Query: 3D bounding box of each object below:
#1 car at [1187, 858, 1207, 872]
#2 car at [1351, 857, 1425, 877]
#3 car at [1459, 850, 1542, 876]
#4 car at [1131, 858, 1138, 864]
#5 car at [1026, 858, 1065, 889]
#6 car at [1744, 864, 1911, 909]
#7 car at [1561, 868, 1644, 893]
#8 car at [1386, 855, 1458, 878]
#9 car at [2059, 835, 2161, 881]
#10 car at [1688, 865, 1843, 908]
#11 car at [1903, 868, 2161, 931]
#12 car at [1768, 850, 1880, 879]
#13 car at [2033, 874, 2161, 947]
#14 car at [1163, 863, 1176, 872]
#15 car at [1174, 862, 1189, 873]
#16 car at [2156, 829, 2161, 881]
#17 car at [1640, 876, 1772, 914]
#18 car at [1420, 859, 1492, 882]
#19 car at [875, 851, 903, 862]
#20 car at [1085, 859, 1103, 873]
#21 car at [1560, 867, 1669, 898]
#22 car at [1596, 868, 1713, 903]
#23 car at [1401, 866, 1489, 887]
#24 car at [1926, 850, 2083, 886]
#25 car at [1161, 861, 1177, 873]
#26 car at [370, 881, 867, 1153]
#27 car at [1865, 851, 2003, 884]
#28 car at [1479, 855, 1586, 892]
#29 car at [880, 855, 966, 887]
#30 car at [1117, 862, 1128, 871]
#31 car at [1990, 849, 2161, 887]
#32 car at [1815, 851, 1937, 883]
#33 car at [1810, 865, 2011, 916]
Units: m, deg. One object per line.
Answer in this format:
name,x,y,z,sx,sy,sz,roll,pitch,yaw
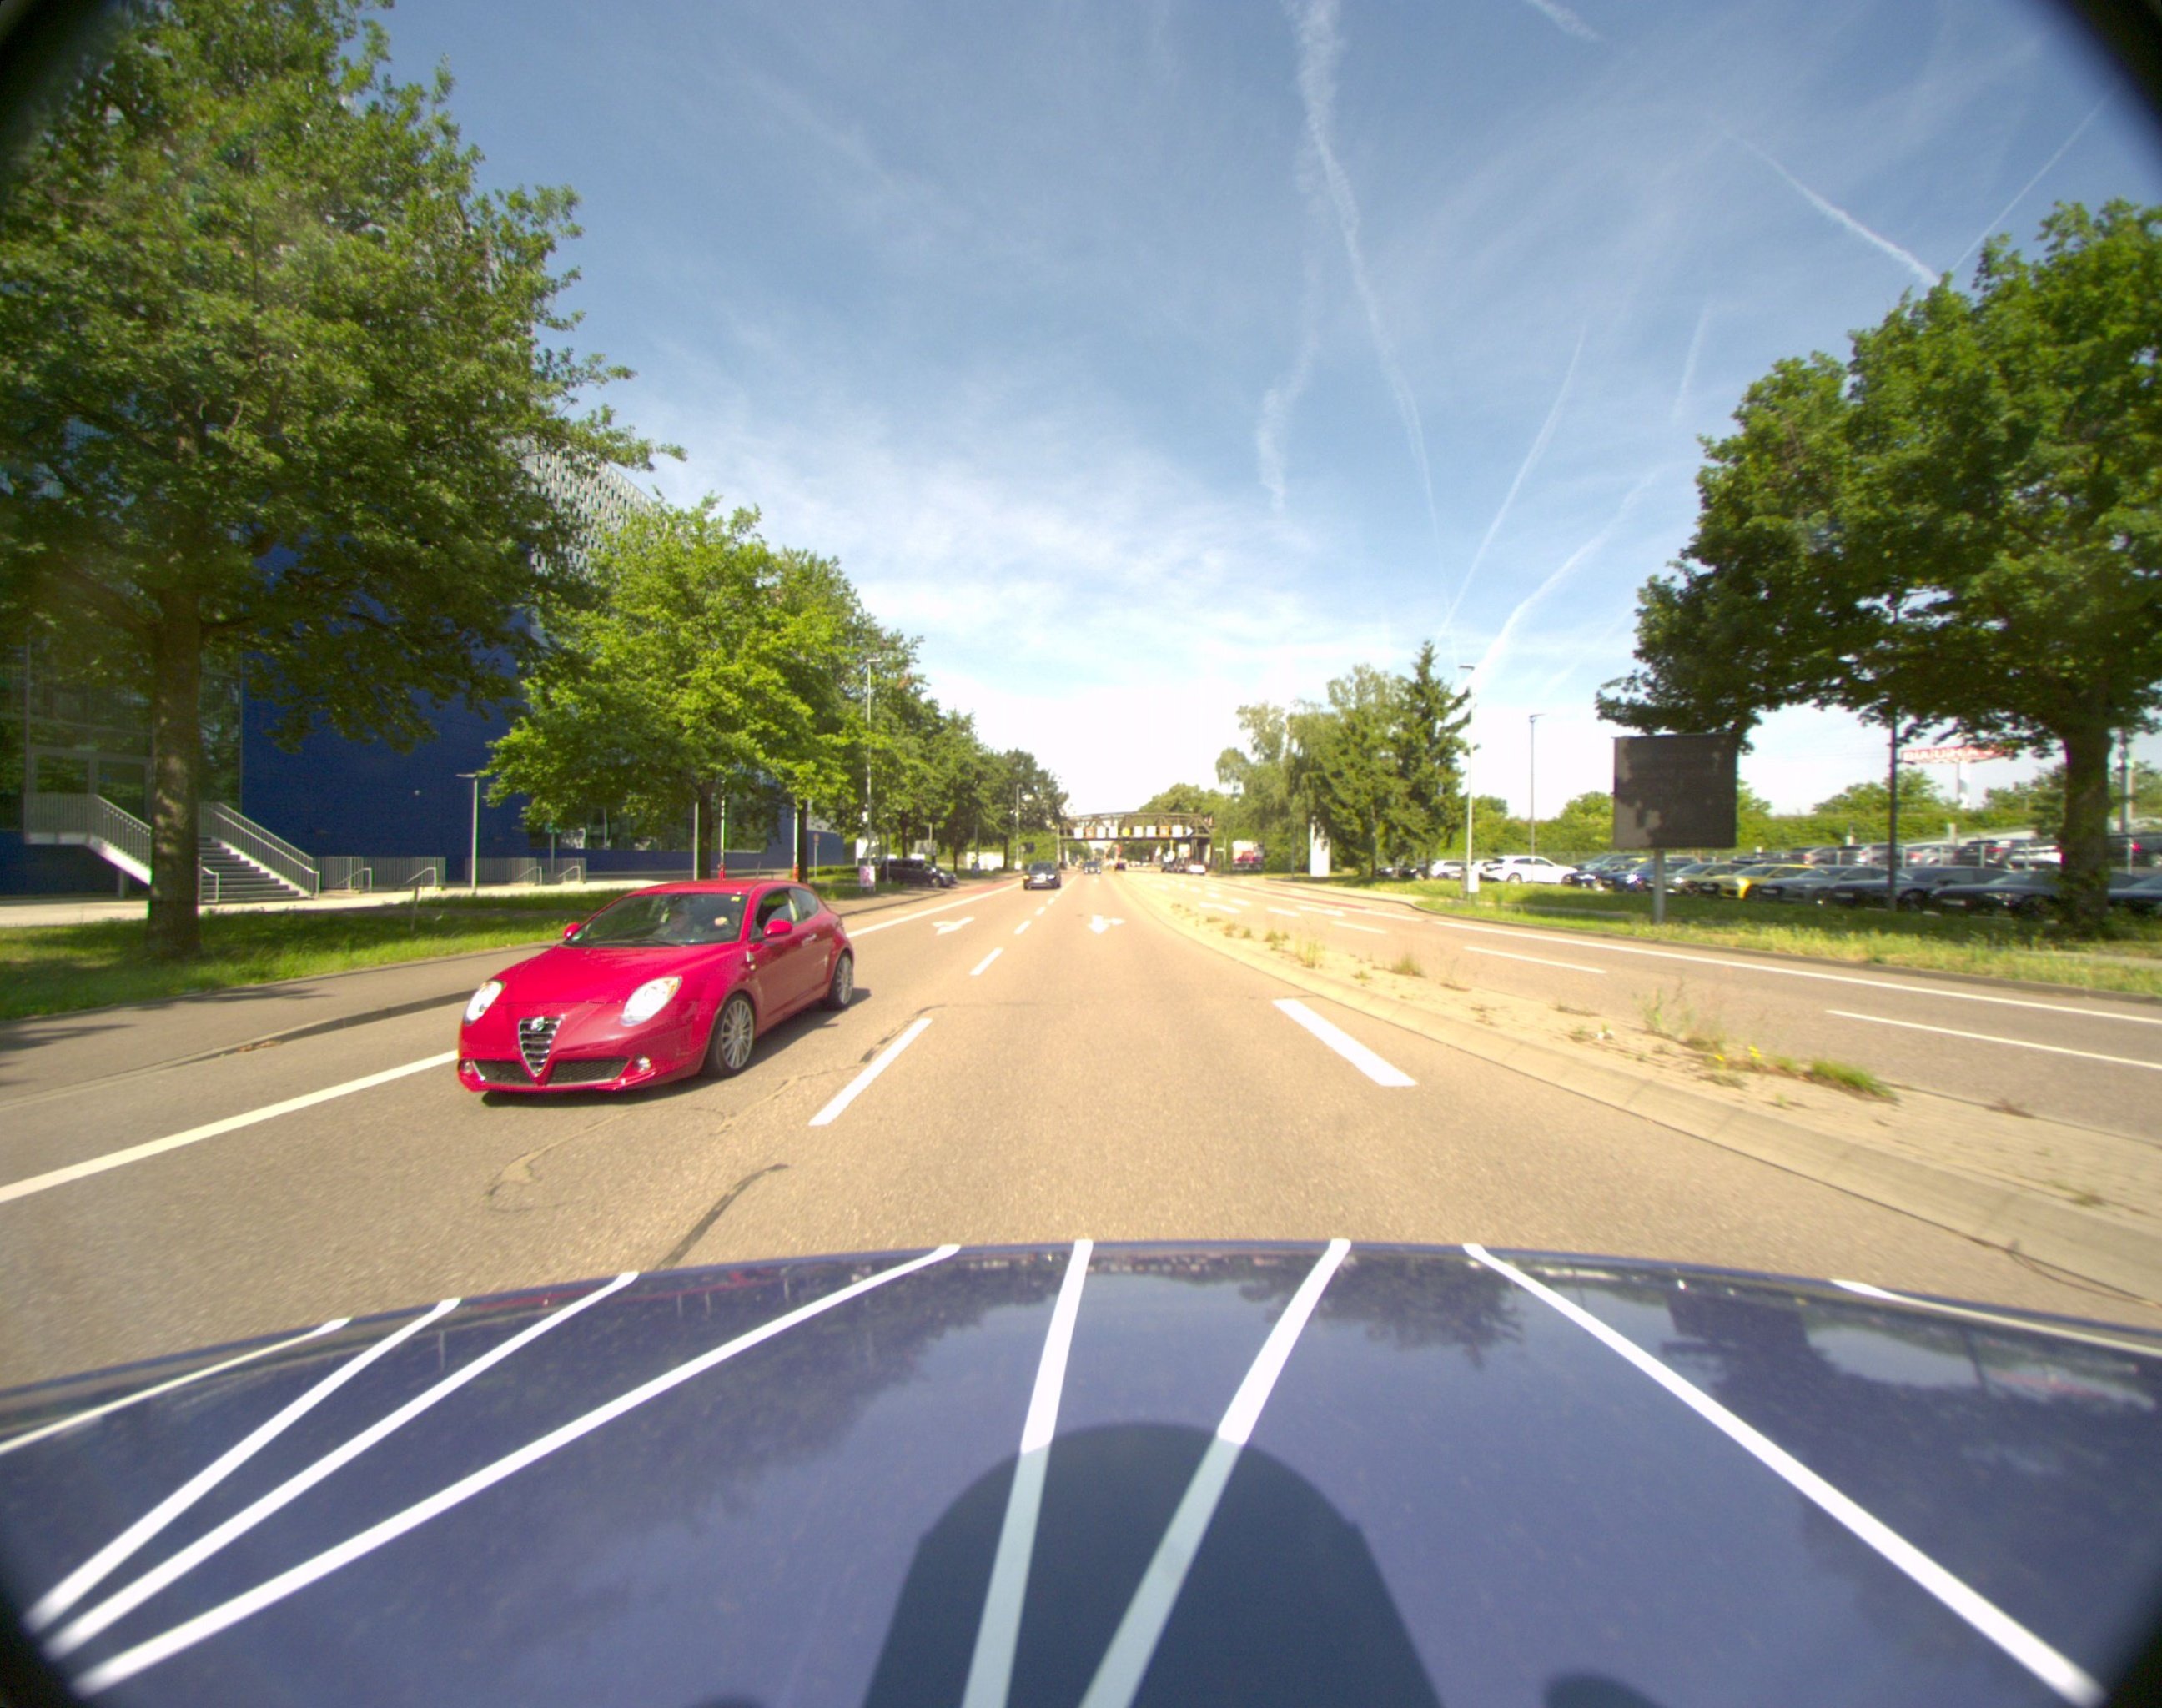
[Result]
car,13.632,1.270,89.360,1.998,1.608,4.106,2,0,5
car,22.705,0.942,56.308,4.698,1.381,2.000,-1,0,1
car,25.426,0.527,46.167,3.995,1.477,1.848,-1,0,4
car,16.876,2.132,239.285,1.824,1.711,3.636,-1,0,-2
car,-1.964,1.057,42.969,1.824,1.632,4.113,-1,0,2
car,24.238,1.025,24.771,3.603,1.277,1.865,2,0,-1
car,34.590,1.738,50.447,4.253,1.555,1.805,-1,0,-1
car,24.224,0.889,54.100,4.224,1.537,2.000,-1,0,1
car,40.111,0.165,28.682,4.279,1.695,1.665,1,0,-1
car,24.449,1.130,27.245,3.897,1.332,1.840,2,0,-1
car,24.281,1.117,19.399,4.511,1.467,1.979,1,0,-1
car,40.417,0.583,41.393,4.213,1.468,2.000,-1,0,-2
car,24.304,1.210,16.662,4.511,1.467,1.919,1,0,-1
car,13.875,2.123,119.602,1.639,1.379,4.319,1,0,1
car,14.460,1.935,109.456,1.702,1.510,4.027,2,0,1
car,40.135,0.046,25.807,4.511,1.805,1.979,1,0,-1
car,24.328,1.597,29.667,3.752,1.277,1.663,2,0,-1
car,23.800,1.043,48.343,3.689,1.362,1.816,-1,0,1
car,-30.902,0.437,122.114,4.292,1.629,1.860,-1,0,32
car,1.374,1.233,81.953,1.888,1.427,4.000,-1,0,1
car,24.409,1.283,34.847,3.801,1.277,1.744,-1,0,-1
car,24.212,1.320,32.148,3.603,1.277,1.744,2,0,-1
car,24.082,1.476,50.331,4.863,1.261,2.000,-1,0,1
car,40.425,0.599,33.331,4.511,1.476,1.979,1,0,-1
car,14.725,2.168,127.742,1.998,1.850,5.451,2,0,1
car,-3.328,1.046,6.536,1.798,1.446,3.979,-1,0,0
car,40.299,0.636,35.968,4.511,1.410,1.891,-1,0,-1
car,24.054,1.033,40.610,4.474,1.864,2.000,-1,0,2
car,-9.100,0.965,43.797,4.452,1.684,1.845,1,0,8
car,7.124,2.215,130.585,1.785,1.438,4.120,1,0,1
car,40.508,0.558,30.993,4.511,1.476,1.979,1,0,-1
car,40.479,0.653,38.760,4.213,1.468,2.000,-1,0,-2
car,24.049,1.035,22.144,3.689,1.277,1.985,2,0,-1
